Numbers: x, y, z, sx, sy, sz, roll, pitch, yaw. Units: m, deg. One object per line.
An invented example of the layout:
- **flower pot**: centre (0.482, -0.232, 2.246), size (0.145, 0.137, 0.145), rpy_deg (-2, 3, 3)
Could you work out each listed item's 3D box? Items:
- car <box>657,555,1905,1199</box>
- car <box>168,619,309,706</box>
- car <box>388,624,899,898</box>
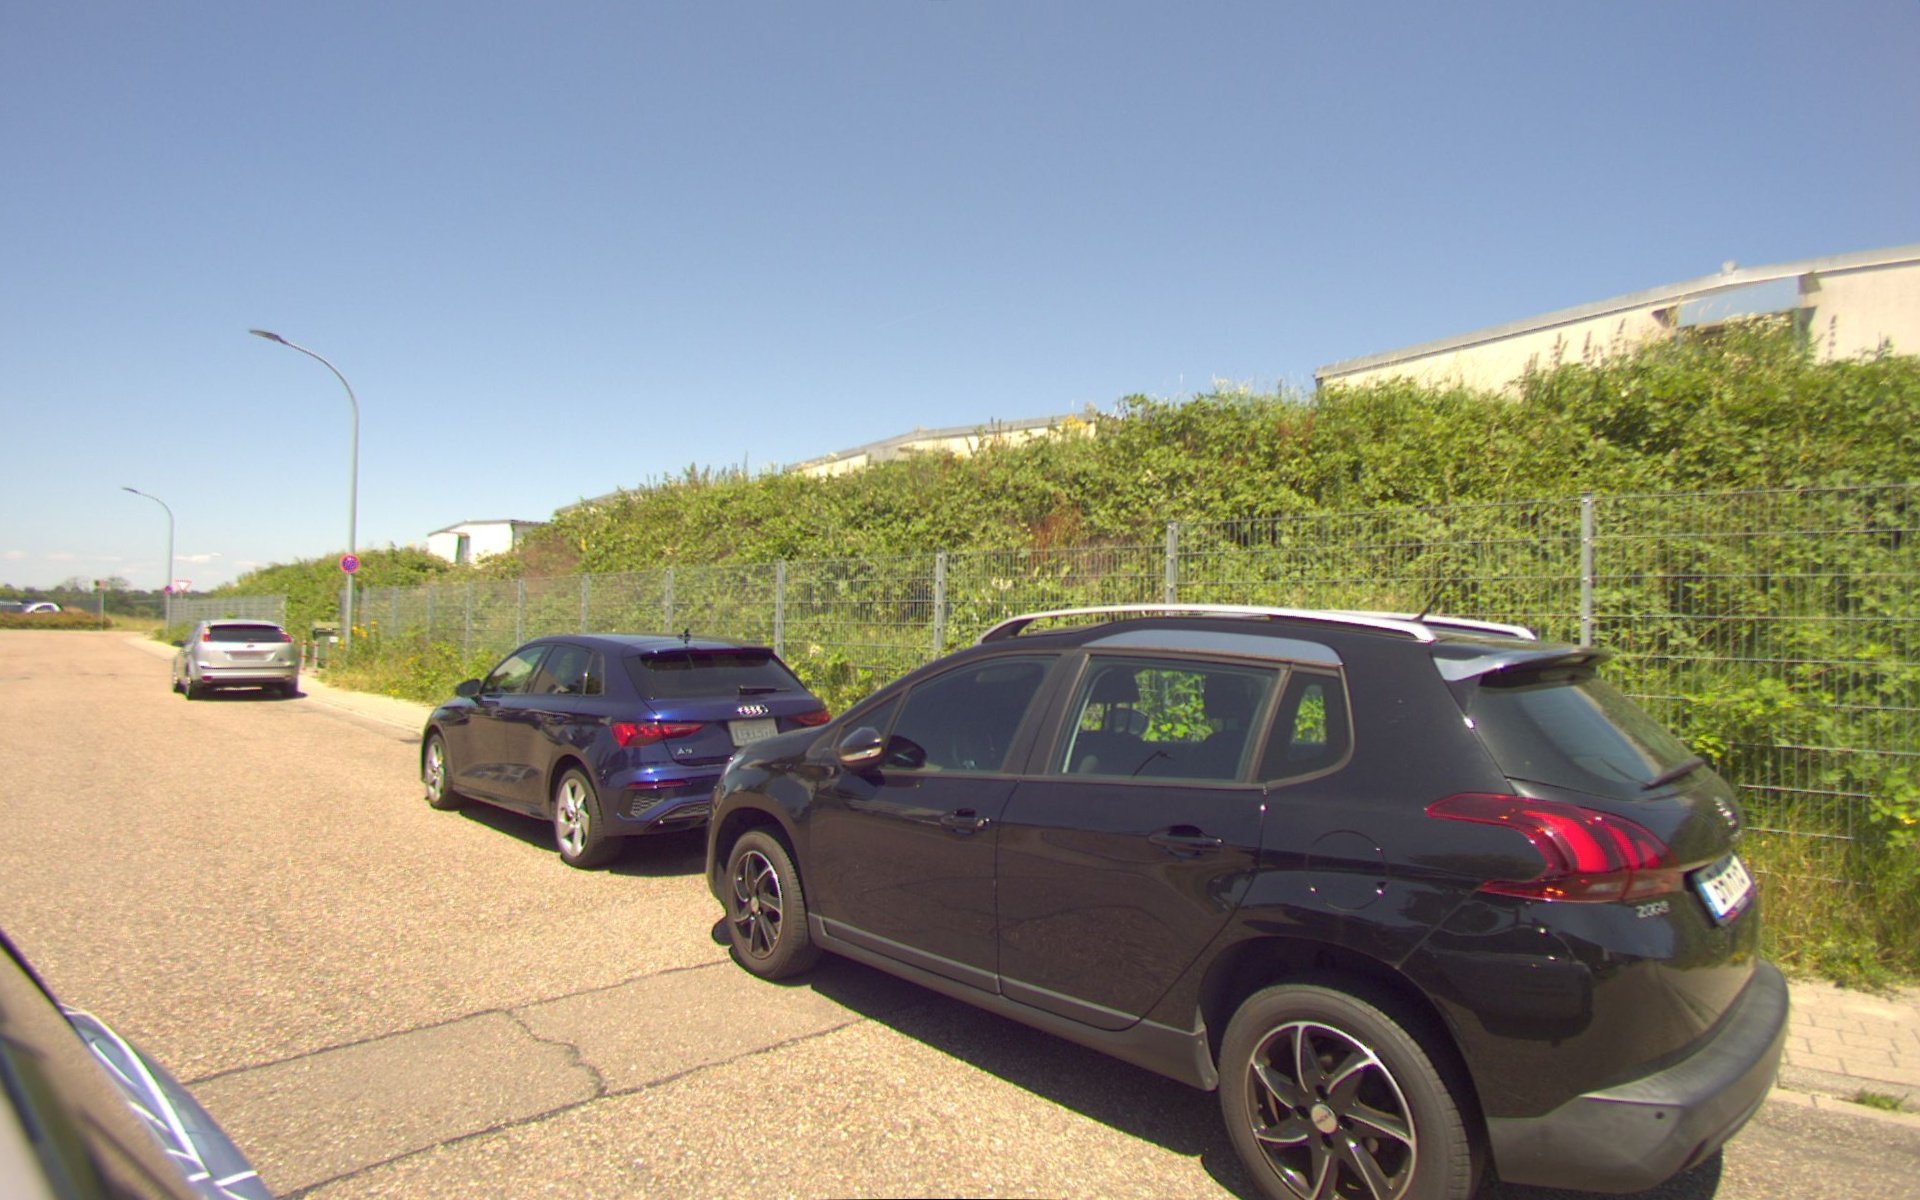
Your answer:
- **car**: centre (0.640, 0.778, 3.776), size (1.634, 1.567, 4.136), rpy_deg (4, -4, -44)
- **car**: centre (-14.379, 1.191, 20.086), size (1.826, 1.531, 3.953), rpy_deg (4, -3, -41)
- **car**: centre (-2.600, 0.942, 7.659), size (1.912, 1.466, 4.284), rpy_deg (4, -4, -45)
